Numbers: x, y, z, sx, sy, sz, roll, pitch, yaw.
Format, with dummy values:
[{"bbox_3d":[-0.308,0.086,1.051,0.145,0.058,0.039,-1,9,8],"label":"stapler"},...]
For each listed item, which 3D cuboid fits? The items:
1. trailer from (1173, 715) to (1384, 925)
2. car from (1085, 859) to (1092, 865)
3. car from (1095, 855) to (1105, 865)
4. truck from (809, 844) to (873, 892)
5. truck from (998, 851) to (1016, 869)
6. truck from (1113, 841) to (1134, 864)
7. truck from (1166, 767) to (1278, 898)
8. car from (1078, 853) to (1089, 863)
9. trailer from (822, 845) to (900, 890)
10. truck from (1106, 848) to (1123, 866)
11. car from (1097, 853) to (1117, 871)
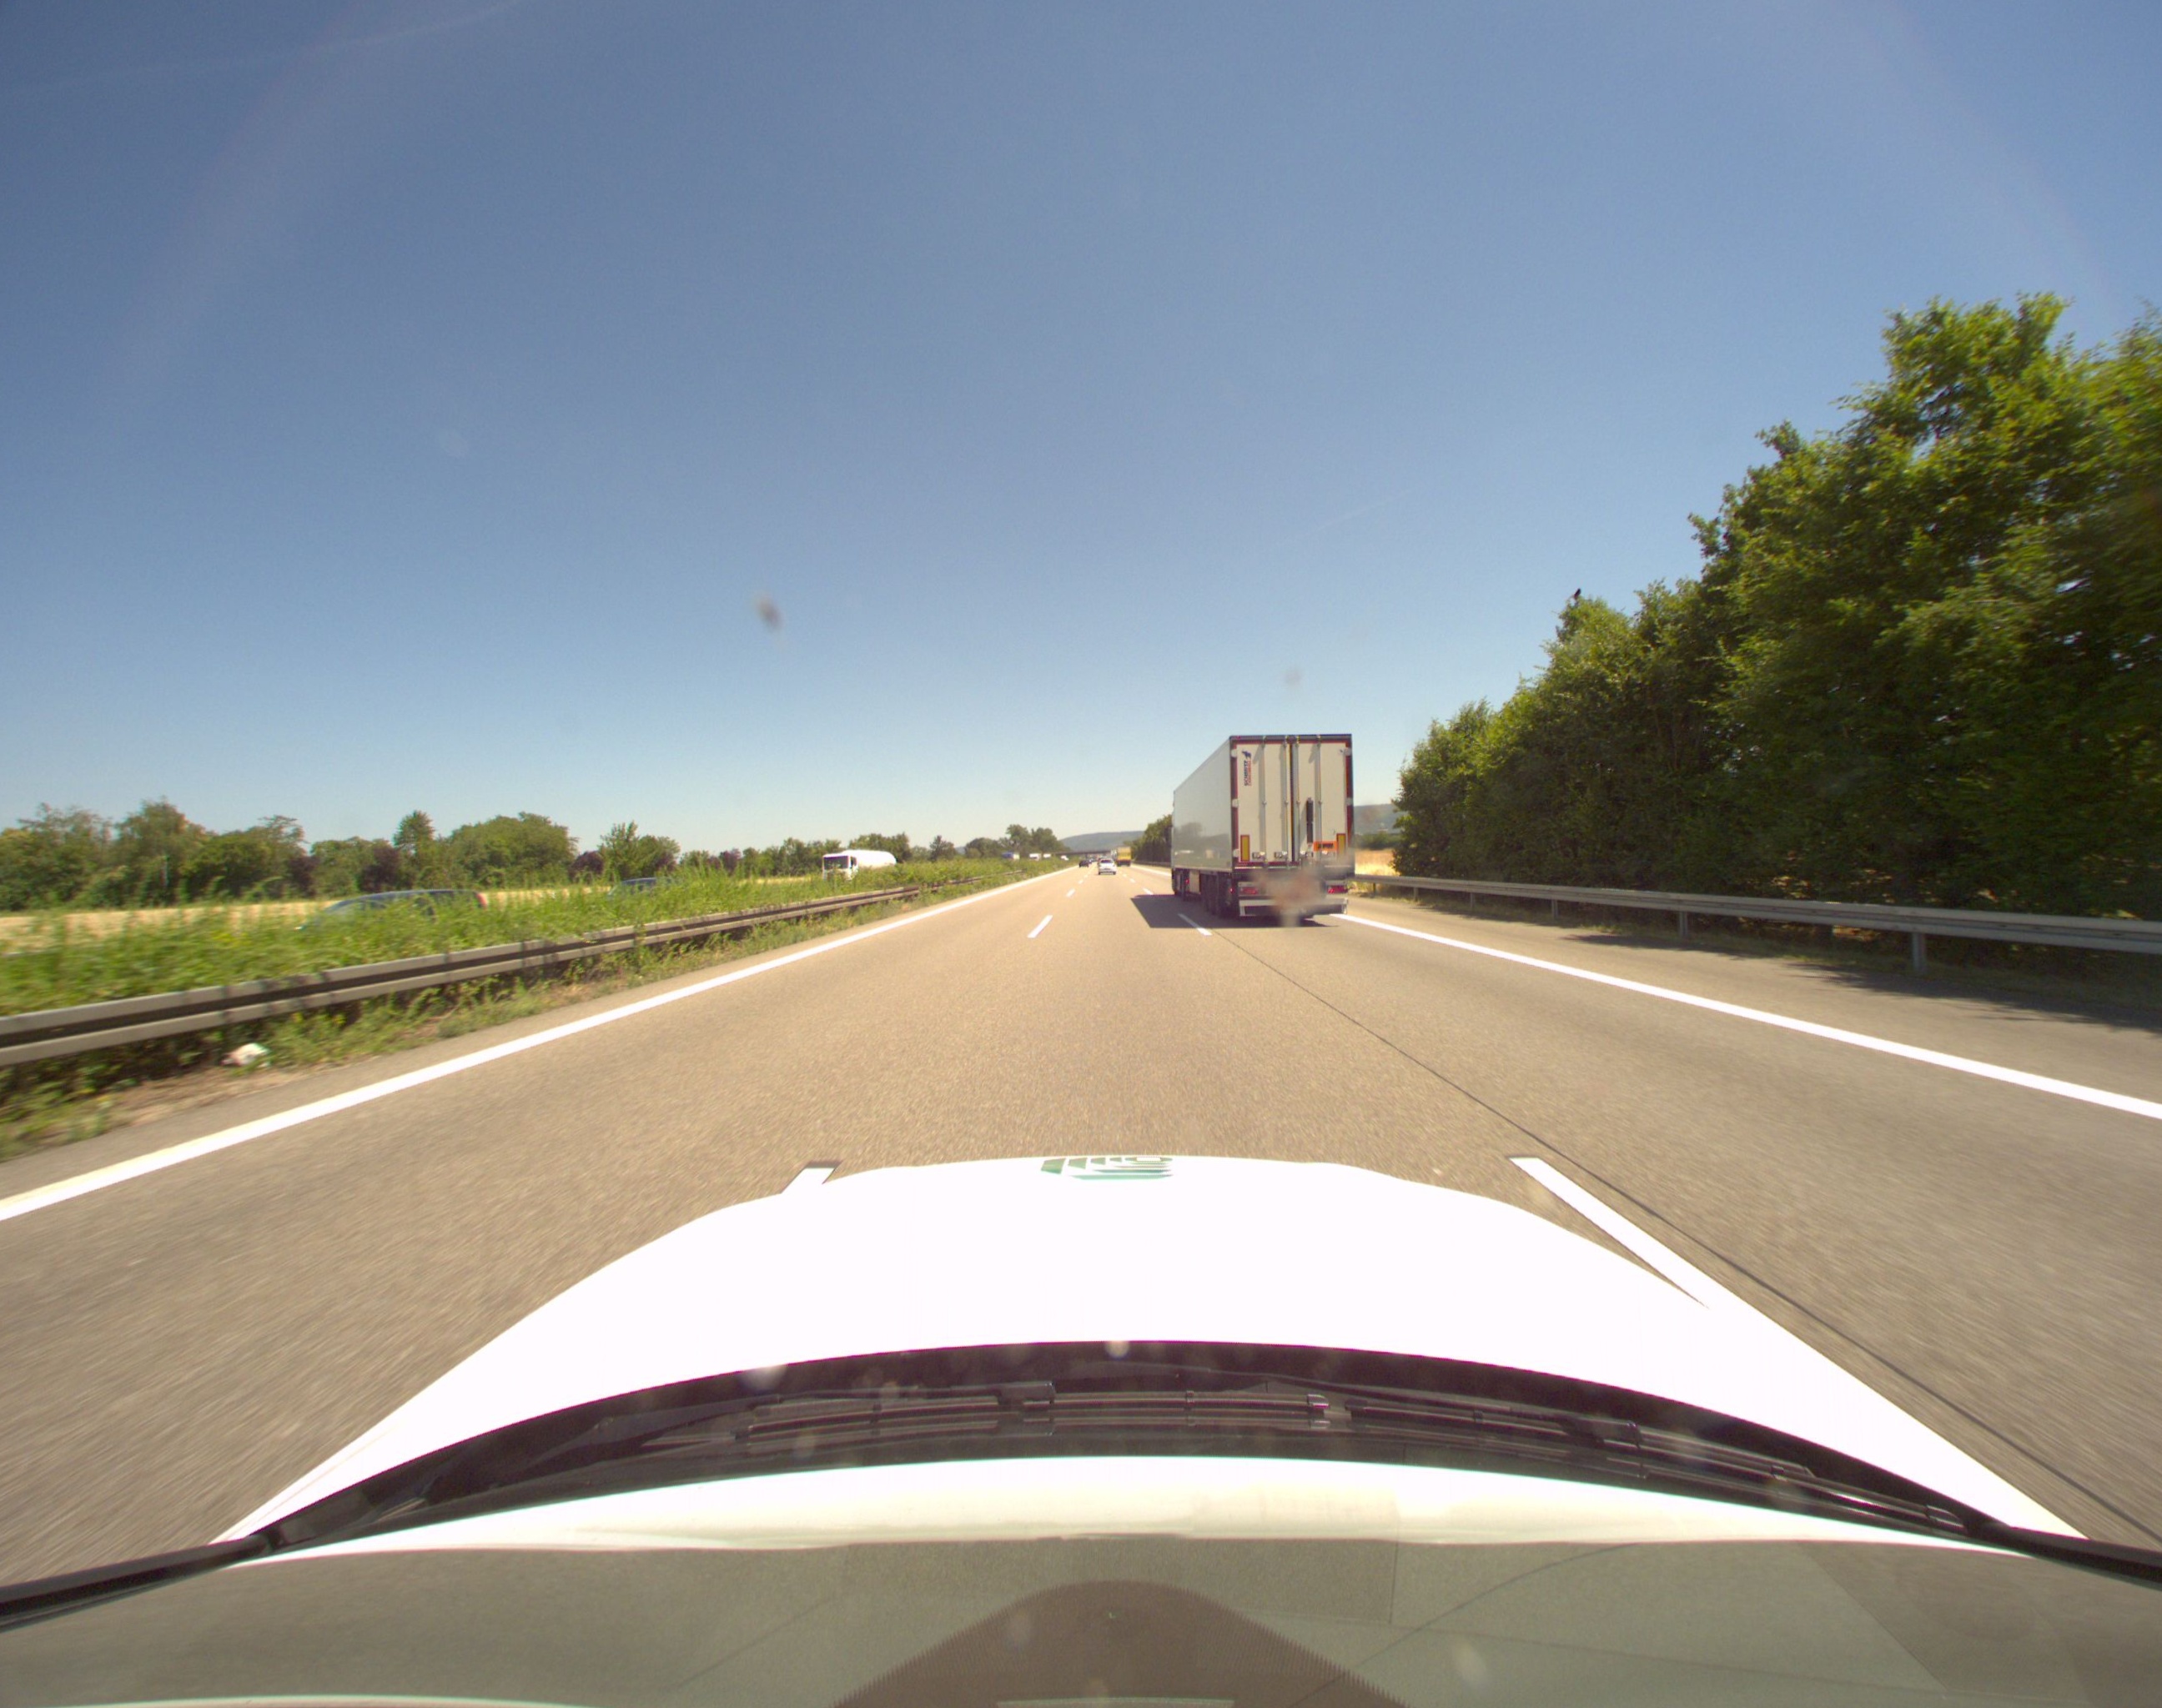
[{"bbox_3d":[4.860,-0.706,23.704,3.206,4.345,13.633,0,0,2],"label":"trailer"},{"bbox_3d":[2.198,2.245,232.754,1.788,1.551,4.002,-1,0,2],"label":"car"},{"bbox_3d":[3.363,1.063,143.013,1.780,1.712,4.001,0,0,1],"label":"car"},{"bbox_3d":[-18.843,1.065,64.245,3.216,3.516,5.435,-2,0,1],"label":"truck"},{"bbox_3d":[-16.070,1.303,177.466,3.123,3.832,5.835,-2,0,1],"label":"truck"},{"bbox_3d":[8.163,-0.266,159.781,3.857,4.345,13.866,0,0,2],"label":"truck"},{"bbox_3d":[5.049,-0.708,30.502,3.206,4.345,6.592,0,0,1],"label":"truck"},{"bbox_3d":[0.437,0.735,151.069,1.986,1.712,4.001,0,0,1],"label":"car"},{"bbox_3d":[-18.713,1.094,70.301,3.216,3.516,11.772,-2,0,1],"label":"trailer"},{"bbox_3d":[9.025,0.751,219.441,4.255,4.652,13.865,-1,0,2],"label":"truck"},{"bbox_3d":[2.476,0.750,78.363,1.726,1.684,4.001,-2,0,1],"label":"car"}]
